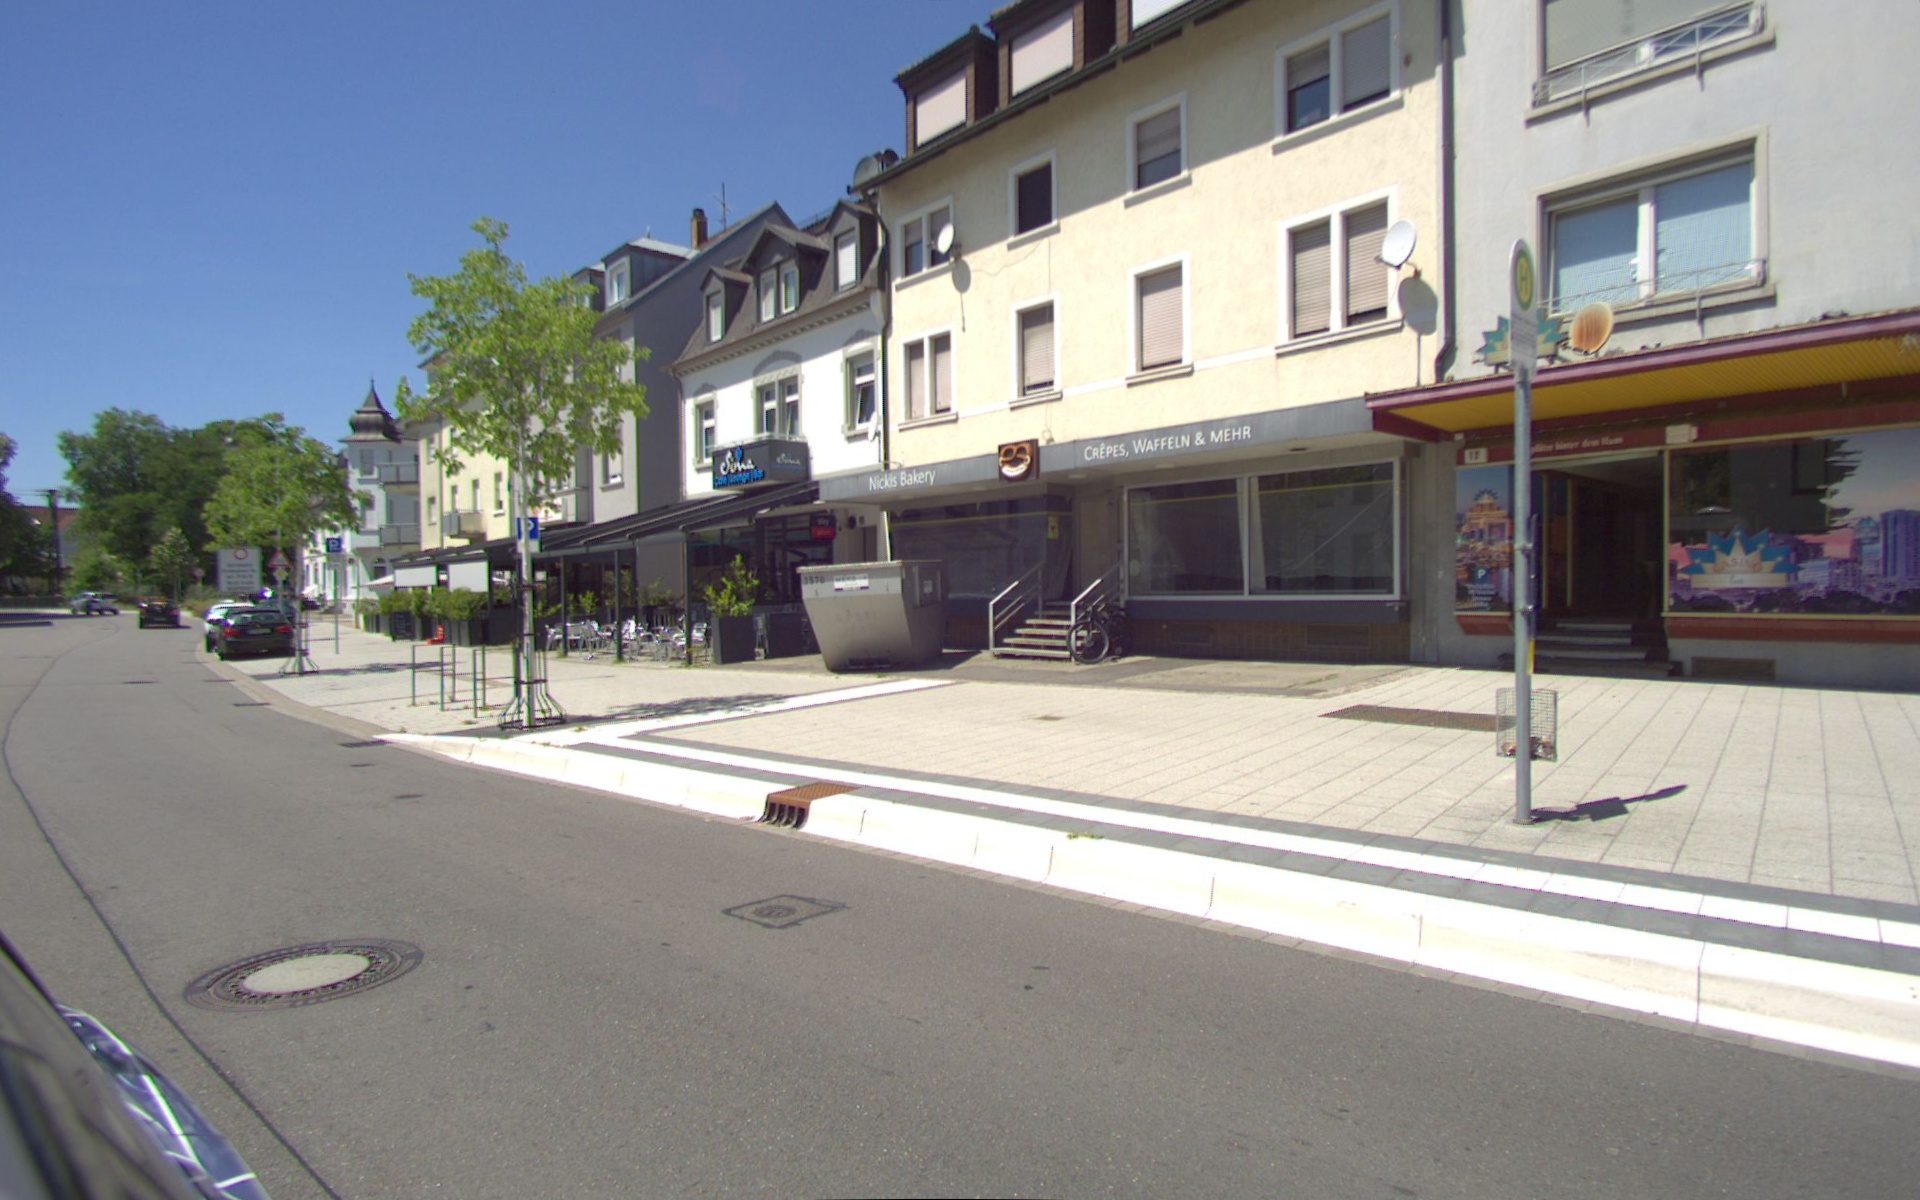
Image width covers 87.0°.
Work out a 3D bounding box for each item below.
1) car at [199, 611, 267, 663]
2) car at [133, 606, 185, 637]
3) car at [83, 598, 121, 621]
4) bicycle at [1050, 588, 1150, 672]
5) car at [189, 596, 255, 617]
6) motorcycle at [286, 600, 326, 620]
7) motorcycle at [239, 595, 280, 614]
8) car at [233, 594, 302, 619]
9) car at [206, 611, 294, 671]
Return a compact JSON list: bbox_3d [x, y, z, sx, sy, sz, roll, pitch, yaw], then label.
[{"bbox_3d":[-23.778,1.149,33.123,1.659,1.495,3.777,-3,2,-36],"label":"car"},{"bbox_3d":[-40.055,1.069,50.701,1.594,1.465,3.875,1,-1,-32],"label":"car"},{"bbox_3d":[-57.045,0.615,67.357,1.659,1.495,4.095,1,0,-37],"label":"car"},{"bbox_3d":[2.331,0.469,16.720,1.744,1.243,0.617,-5,2,-42],"label":"bicycle"},{"bbox_3d":[-57.193,0.502,78.501,1.818,1.548,3.921,0,0,14],"label":"car"},{"bbox_3d":[-44.778,0.665,69.306,2.287,1.335,0.727,0,0,-39],"label":"motorcycle"},{"bbox_3d":[-48.532,0.307,70.156,2.287,1.335,0.727,0,0,-39],"label":"motorcycle"},{"bbox_3d":[-49.460,0.449,72.297,4.015,1.752,1.819,0,0,-36],"label":"car"},{"bbox_3d":[-20.435,1.117,29.054,1.732,1.456,4.457,-5,2,-38],"label":"car"}]
